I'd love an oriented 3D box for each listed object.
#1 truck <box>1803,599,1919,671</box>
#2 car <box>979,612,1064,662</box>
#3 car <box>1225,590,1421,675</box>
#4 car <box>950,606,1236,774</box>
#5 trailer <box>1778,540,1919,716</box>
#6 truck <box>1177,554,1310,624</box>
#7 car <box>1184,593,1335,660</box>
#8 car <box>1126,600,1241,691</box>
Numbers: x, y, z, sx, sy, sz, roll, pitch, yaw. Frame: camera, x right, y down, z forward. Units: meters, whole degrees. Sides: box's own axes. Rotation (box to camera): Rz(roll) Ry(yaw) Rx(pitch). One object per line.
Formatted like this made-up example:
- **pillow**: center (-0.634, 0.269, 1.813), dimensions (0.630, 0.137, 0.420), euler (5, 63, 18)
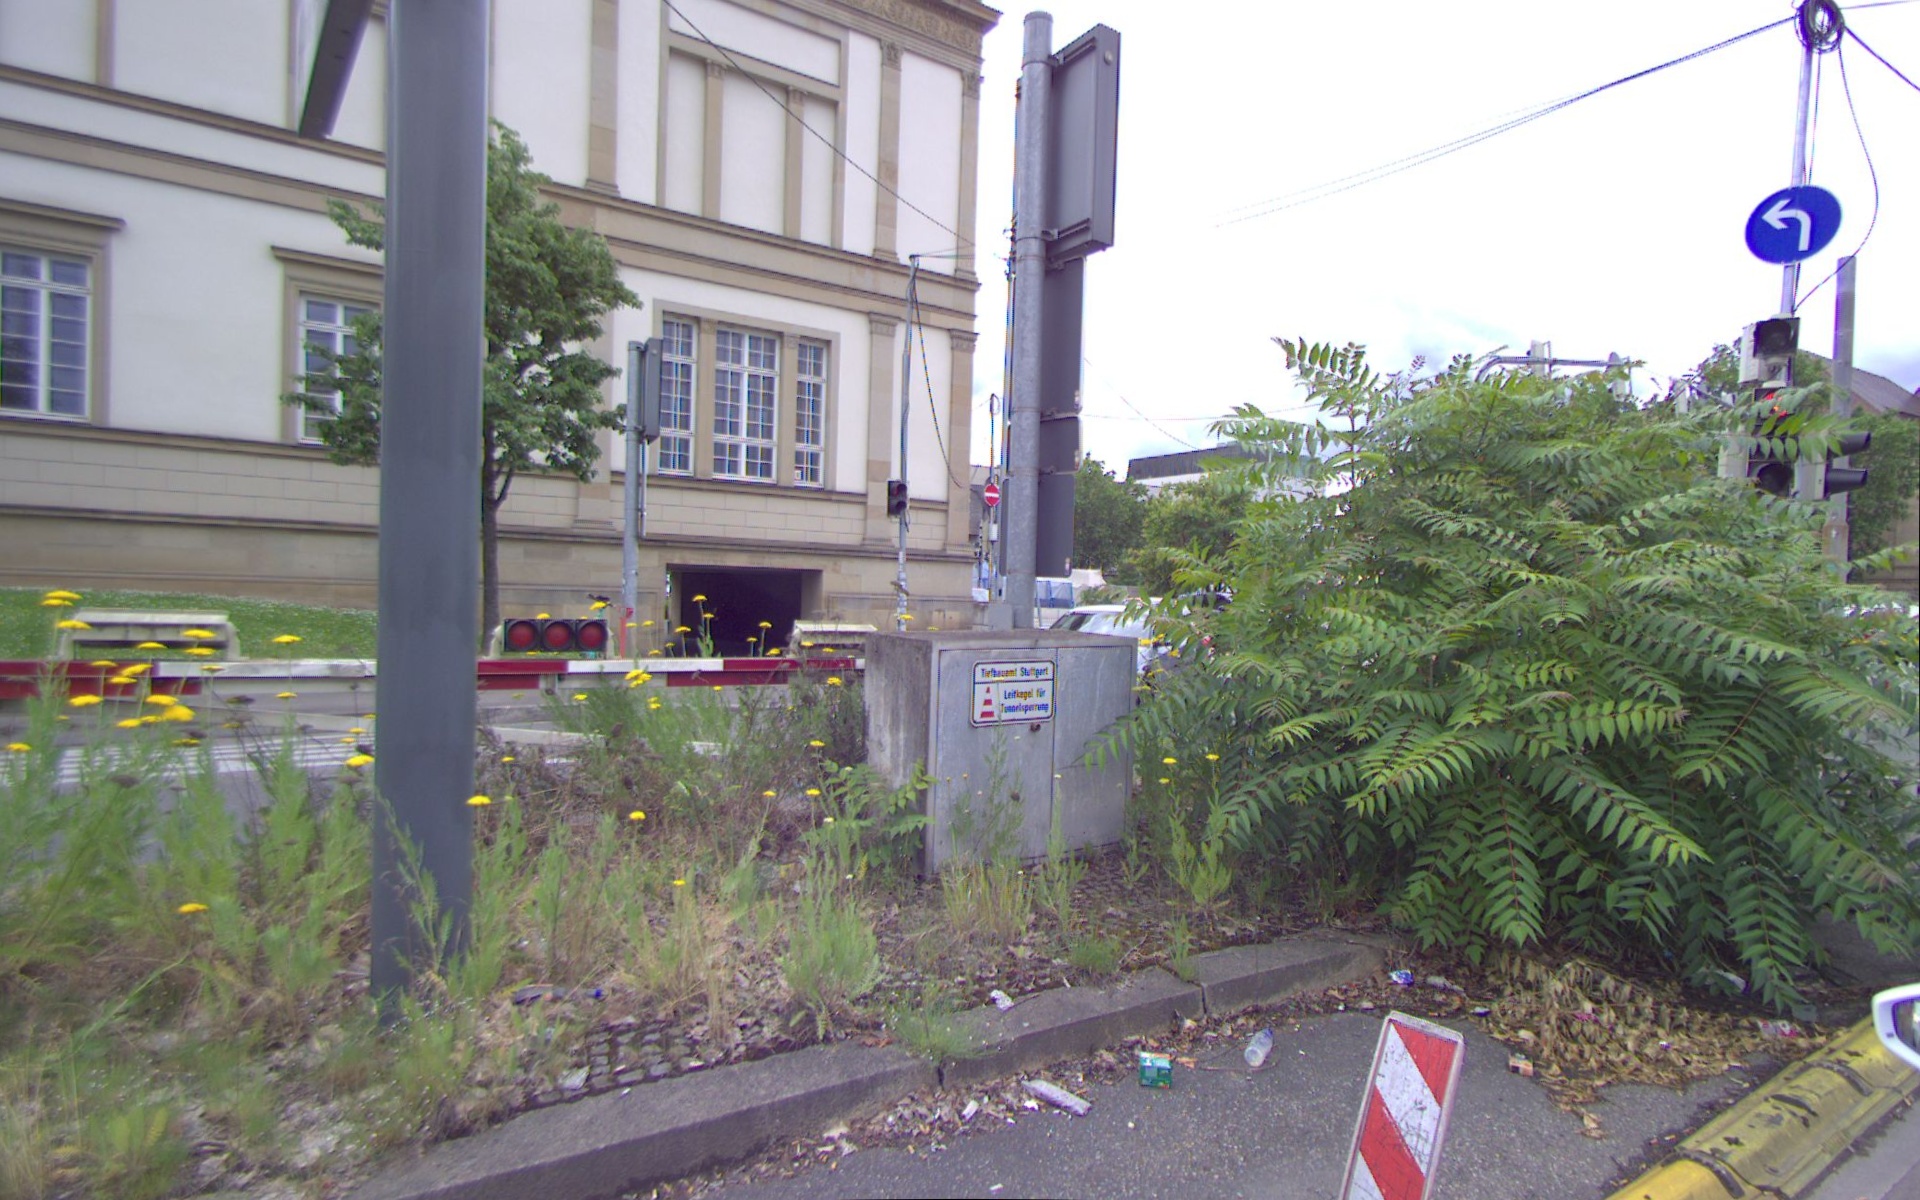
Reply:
- **truck**: center (43.887, 1.628, 47.097), dimensions (6.500, 3.188, 2.358), euler (2, 0, 38)
- **car**: center (2.696, 1.640, 45.000), dimensions (1.975, 2.040, 3.970), euler (2, 0, -28)
- **car**: center (8.174, 0.680, 22.952), dimensions (1.886, 1.763, 3.972), euler (2, 0, -27)
- **car**: center (1.828, 0.992, 12.726), dimensions (1.805, 1.728, 3.984), euler (2, 0, 38)
- **trailer**: center (17.215, 0.495, 14.932), dimensions (2.831, 2.761, 7.308), euler (2, 0, -32)
- **truck**: center (21.545, -0.849, 76.960), dimensions (3.089, 5.026, 9.629), euler (2, 0, -41)
- **car**: center (8.435, 0.714, 28.648), dimensions (1.886, 1.763, 3.972), euler (2, 0, -27)
- **car**: center (4.478, 0.865, 20.685), dimensions (1.871, 1.630, 4.002), euler (2, 0, 7)
